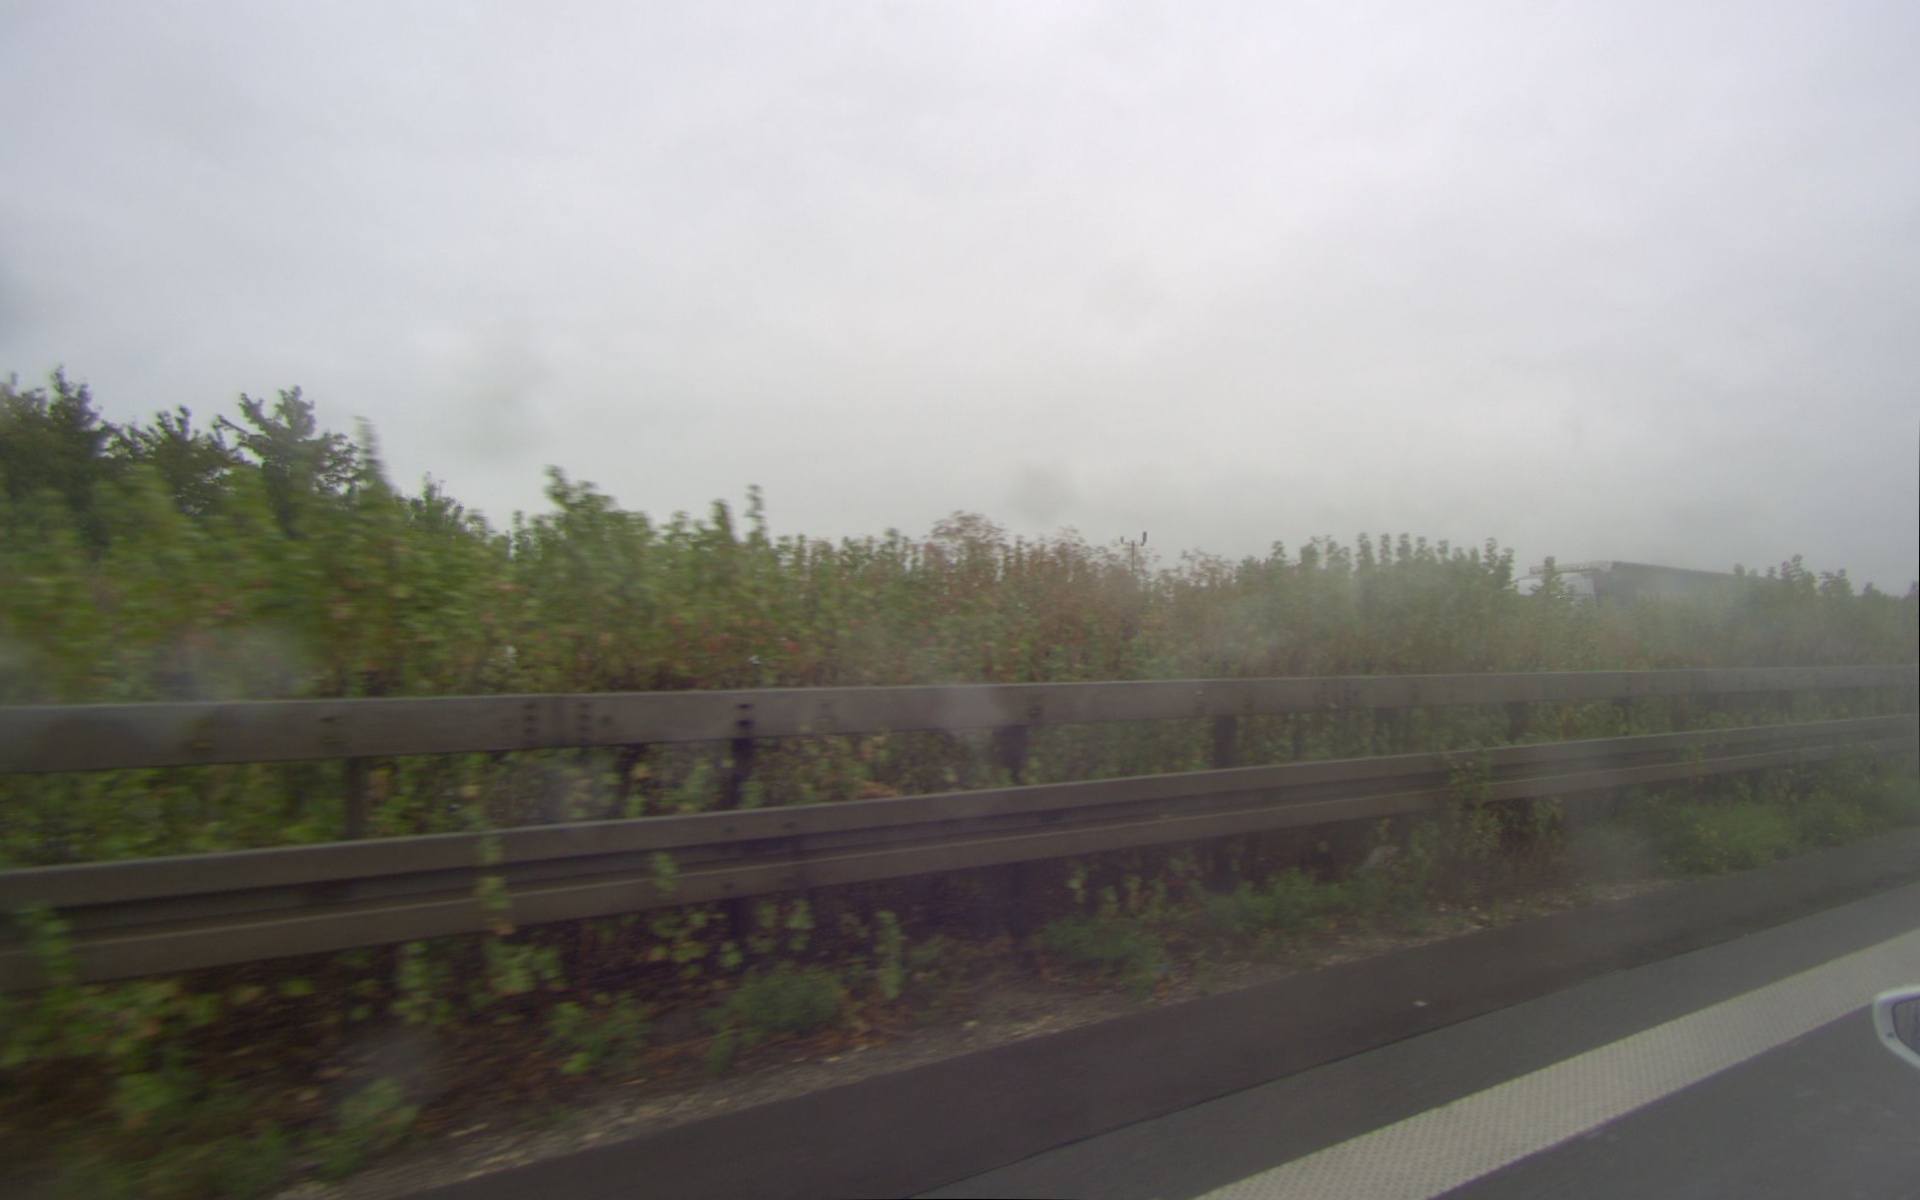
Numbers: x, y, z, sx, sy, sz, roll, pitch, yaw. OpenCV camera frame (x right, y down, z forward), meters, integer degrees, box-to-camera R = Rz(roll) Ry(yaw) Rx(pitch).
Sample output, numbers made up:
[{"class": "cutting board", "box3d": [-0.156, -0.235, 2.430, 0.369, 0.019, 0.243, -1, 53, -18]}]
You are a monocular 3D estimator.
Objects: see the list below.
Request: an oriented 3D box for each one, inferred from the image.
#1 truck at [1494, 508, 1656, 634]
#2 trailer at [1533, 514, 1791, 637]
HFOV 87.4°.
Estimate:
[{"class": "truck", "box3d": [20.629, -0.882, 33.630, 5.336, 3.856, 2.306, 2, 0, -30]}, {"class": "trailer", "box3d": [26.056, -0.674, 36.840, 13.451, 3.855, 2.284, 2, 0, -30]}]
